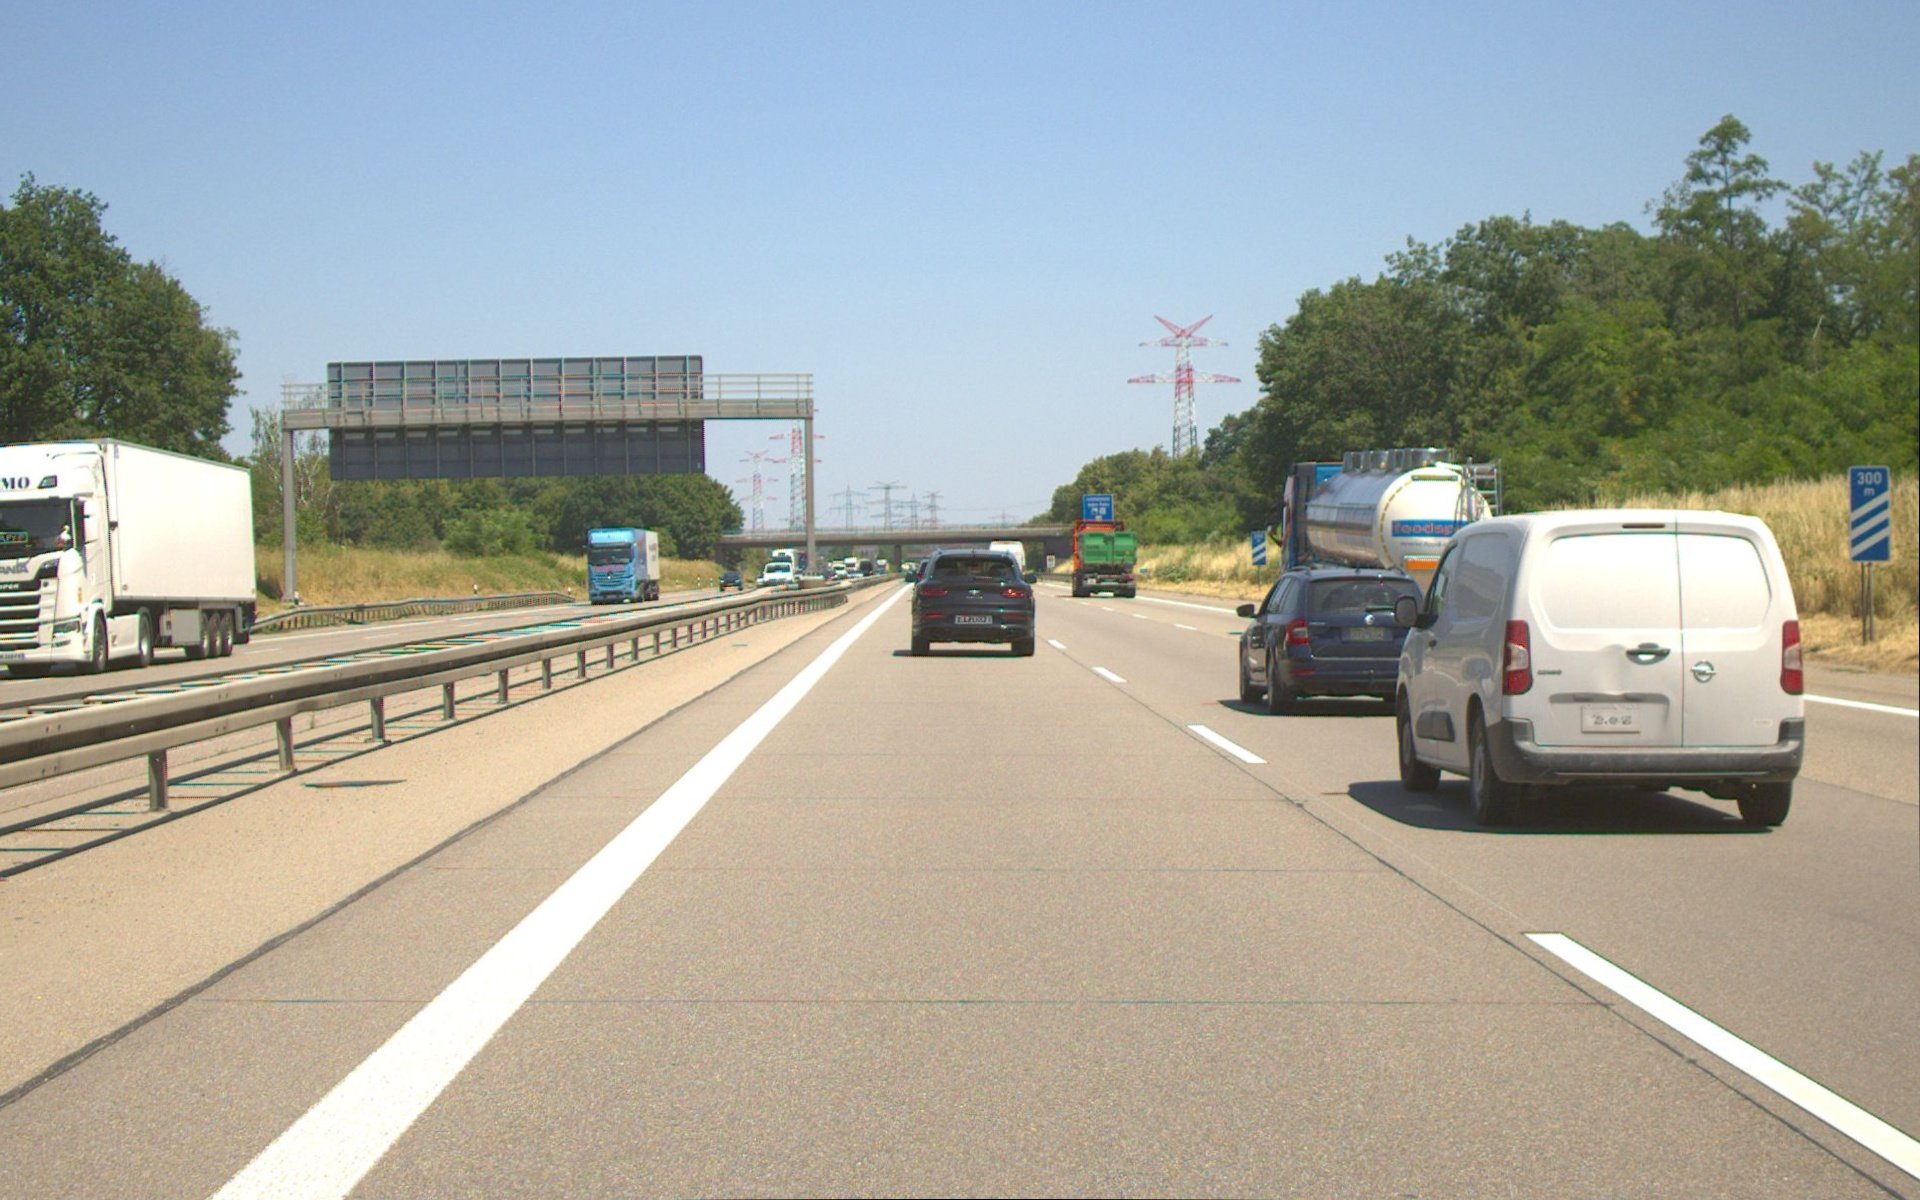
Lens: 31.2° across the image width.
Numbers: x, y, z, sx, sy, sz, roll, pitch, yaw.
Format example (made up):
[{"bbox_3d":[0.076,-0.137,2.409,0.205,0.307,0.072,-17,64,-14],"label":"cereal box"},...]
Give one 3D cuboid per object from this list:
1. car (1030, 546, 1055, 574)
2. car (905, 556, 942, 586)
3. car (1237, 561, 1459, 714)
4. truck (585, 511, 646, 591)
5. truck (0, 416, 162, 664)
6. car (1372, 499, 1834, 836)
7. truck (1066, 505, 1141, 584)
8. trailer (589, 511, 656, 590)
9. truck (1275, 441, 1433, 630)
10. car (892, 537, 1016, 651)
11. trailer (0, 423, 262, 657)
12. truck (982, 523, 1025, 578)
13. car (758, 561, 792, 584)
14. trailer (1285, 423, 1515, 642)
[{"bbox_3d":[5.401,-2.636,225.283,1.524,1.798,3.626,0,1,-1],"label":"car"},{"bbox_3d":[-1.531,-1.236,144.534,1.524,1.248,3.626,0,1,-1],"label":"car"},{"bbox_3d":[3.918,0.338,35.243,1.774,1.467,3.873,0,1,-1],"label":"car"},{"bbox_3d":[-18.599,-2.666,185.766,2.702,4.172,4.723,-2,1,-1],"label":"truck"},{"bbox_3d":[-16.420,-1.039,61.681,2.702,4.172,6.189,-2,1,-1],"label":"truck"},{"bbox_3d":[3.804,0.335,21.243,1.814,1.821,5.111,0,1,-1],"label":"car"},{"bbox_3d":[6.949,-2.678,167.733,2.989,3.716,10.090,1,1,-1],"label":"truck"},{"bbox_3d":[-18.705,-2.763,191.249,2.702,4.172,10.767,-2,1,-1],"label":"trailer"},{"bbox_3d":[8.262,-1.347,72.496,2.682,3.824,4.444,1,1,-1],"label":"truck"},{"bbox_3d":[-0.147,-0.143,57.395,1.940,1.746,5.814,0,2,-1],"label":"car"},{"bbox_3d":[-16.560,-1.187,68.935,2.702,4.172,12.064,-2,1,-1],"label":"trailer"},{"bbox_3d":[2.309,-2.660,184.206,2.060,2.904,7.004,0,1,-1],"label":"truck"},{"bbox_3d":[-11.506,-1.737,214.085,1.927,1.344,3.565,-2,1,-1],"label":"car"},{"bbox_3d":[8.339,-1.272,66.754,2.682,3.824,12.011,1,1,-1],"label":"trailer"}]
